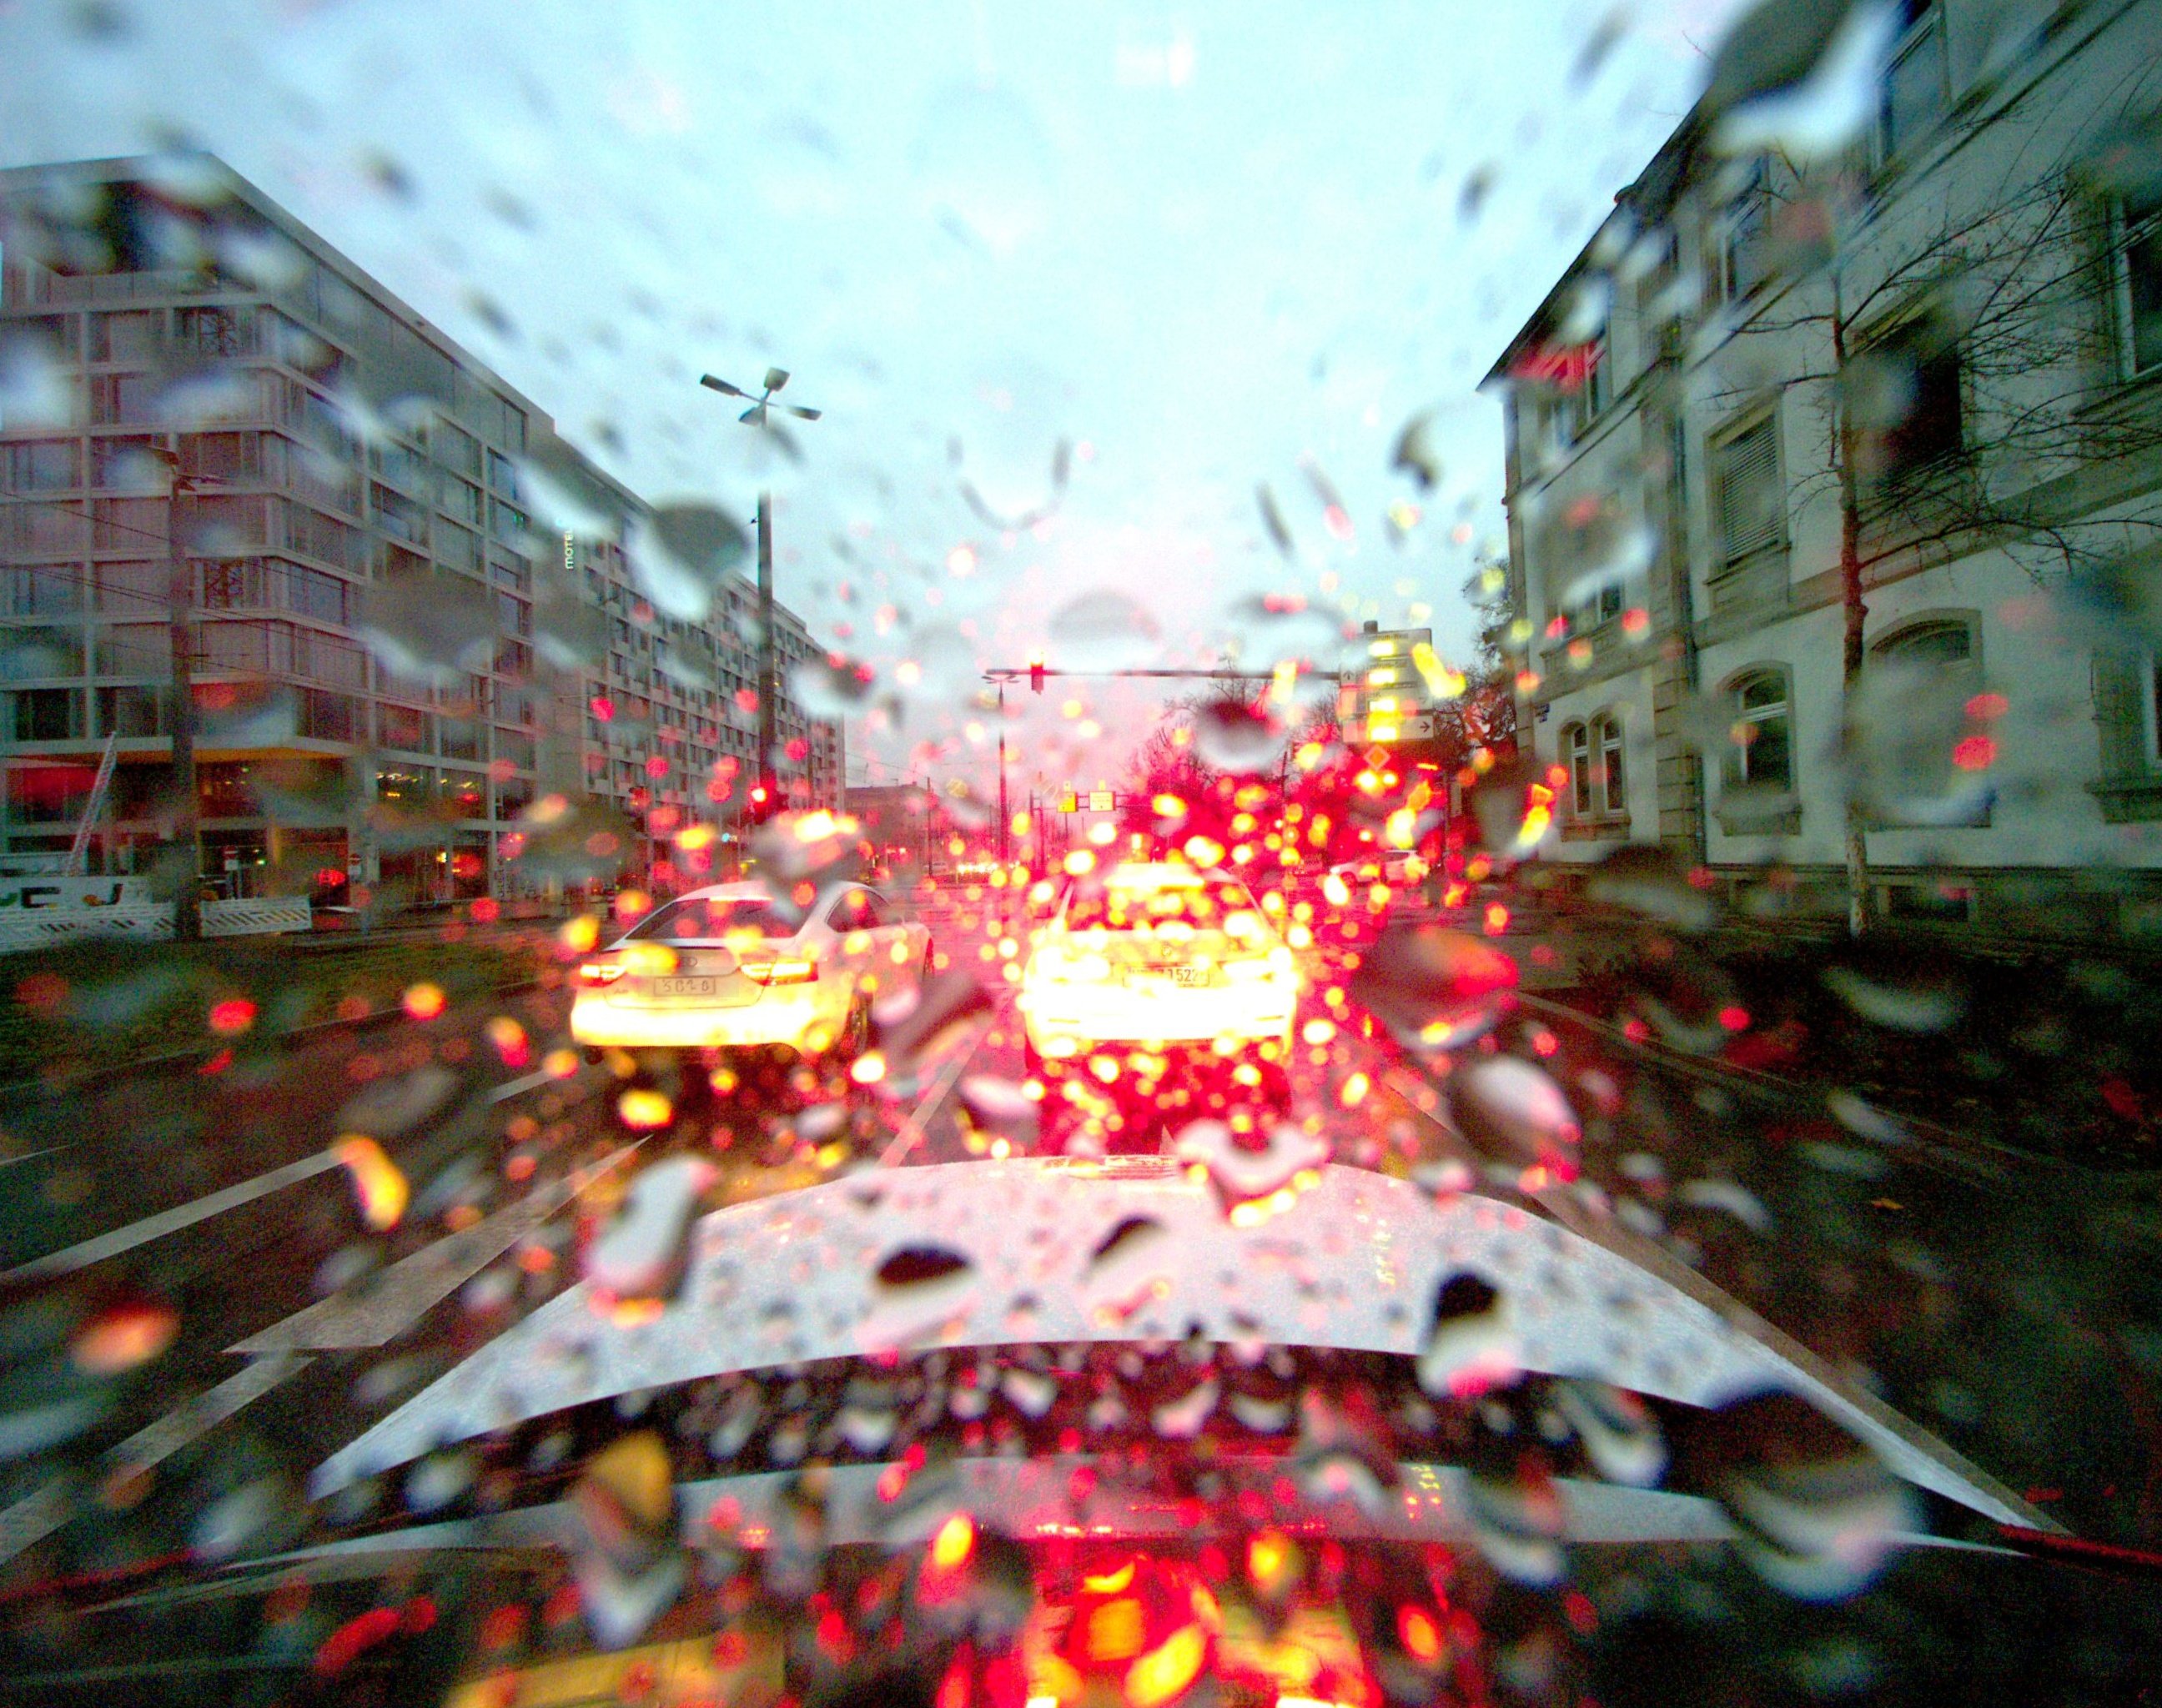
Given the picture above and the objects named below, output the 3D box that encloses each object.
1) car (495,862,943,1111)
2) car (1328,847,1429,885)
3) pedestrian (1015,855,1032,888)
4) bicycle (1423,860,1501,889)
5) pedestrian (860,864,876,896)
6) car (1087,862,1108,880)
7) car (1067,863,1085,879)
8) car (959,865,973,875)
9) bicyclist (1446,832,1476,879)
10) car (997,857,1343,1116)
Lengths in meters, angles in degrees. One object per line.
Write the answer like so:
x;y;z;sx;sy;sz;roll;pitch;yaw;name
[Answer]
-2.601;0.840;7.214;1.987;1.456;4.367;-1;0;0;car
12.703;0.509;34.722;3.920;1.554;1.759;0;-1;24;car
-3.318;1.016;46.857;0.903;1.856;0.809;0;-1;-10;pedestrian
14.464;0.780;31.020;2.644;1.089;0.819;0;-1;21;bicycle
-11.720;1.424;44.767;0.791;1.712;0.809;0;-1;-13;pedestrian
1.515;1.559;74.767;1.836;1.609;3.945;0;-1;1;car
-0.584;1.786;86.810;1.838;1.609;3.942;0;-1;-2;car
-18.851;2.640;133.645;1.669;1.508;3.697;0;-1;1;car
14.476;0.071;31.027;0.964;1.759;0.817;0;-1;21;bicyclist
0.521;0.772;6.920;1.987;1.456;4.367;-1;0;0;car
